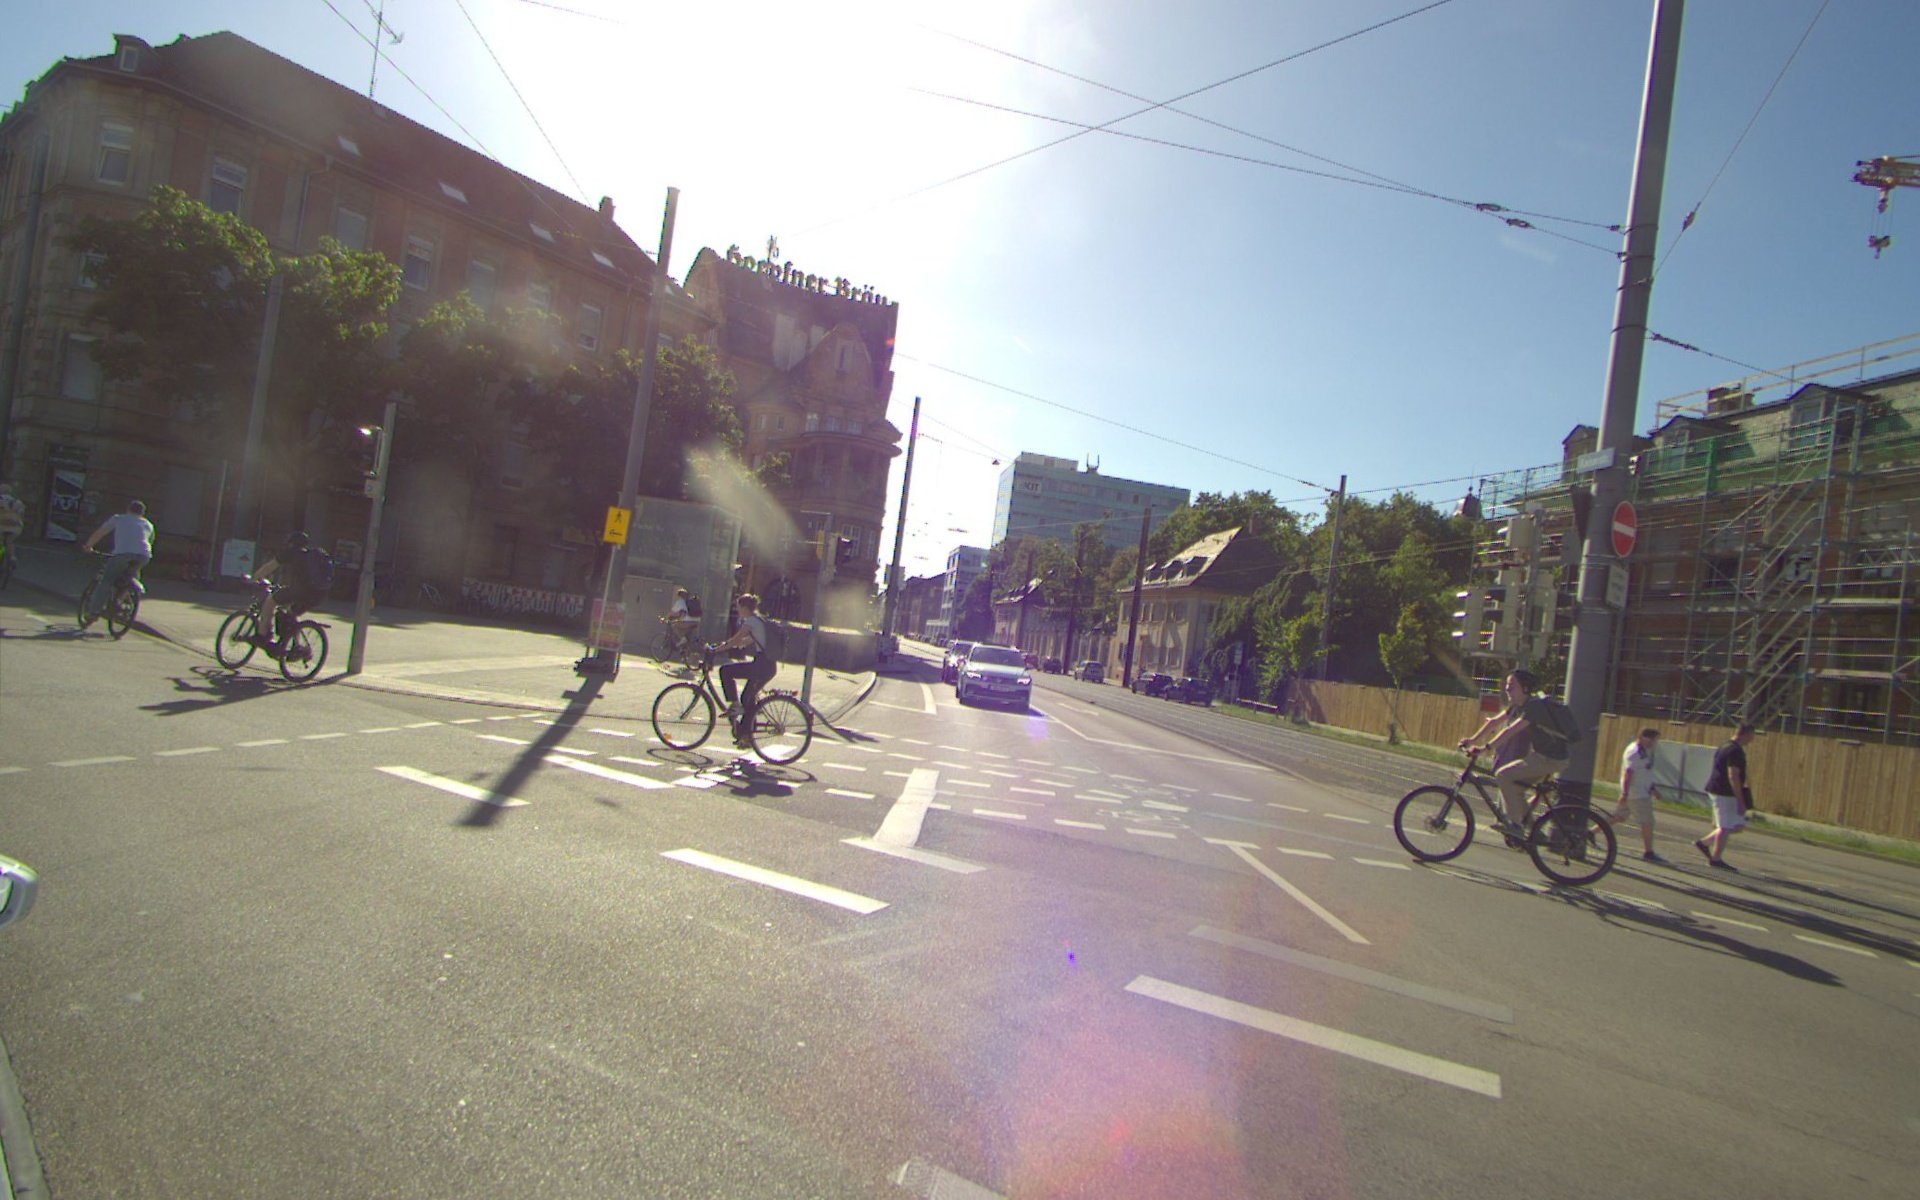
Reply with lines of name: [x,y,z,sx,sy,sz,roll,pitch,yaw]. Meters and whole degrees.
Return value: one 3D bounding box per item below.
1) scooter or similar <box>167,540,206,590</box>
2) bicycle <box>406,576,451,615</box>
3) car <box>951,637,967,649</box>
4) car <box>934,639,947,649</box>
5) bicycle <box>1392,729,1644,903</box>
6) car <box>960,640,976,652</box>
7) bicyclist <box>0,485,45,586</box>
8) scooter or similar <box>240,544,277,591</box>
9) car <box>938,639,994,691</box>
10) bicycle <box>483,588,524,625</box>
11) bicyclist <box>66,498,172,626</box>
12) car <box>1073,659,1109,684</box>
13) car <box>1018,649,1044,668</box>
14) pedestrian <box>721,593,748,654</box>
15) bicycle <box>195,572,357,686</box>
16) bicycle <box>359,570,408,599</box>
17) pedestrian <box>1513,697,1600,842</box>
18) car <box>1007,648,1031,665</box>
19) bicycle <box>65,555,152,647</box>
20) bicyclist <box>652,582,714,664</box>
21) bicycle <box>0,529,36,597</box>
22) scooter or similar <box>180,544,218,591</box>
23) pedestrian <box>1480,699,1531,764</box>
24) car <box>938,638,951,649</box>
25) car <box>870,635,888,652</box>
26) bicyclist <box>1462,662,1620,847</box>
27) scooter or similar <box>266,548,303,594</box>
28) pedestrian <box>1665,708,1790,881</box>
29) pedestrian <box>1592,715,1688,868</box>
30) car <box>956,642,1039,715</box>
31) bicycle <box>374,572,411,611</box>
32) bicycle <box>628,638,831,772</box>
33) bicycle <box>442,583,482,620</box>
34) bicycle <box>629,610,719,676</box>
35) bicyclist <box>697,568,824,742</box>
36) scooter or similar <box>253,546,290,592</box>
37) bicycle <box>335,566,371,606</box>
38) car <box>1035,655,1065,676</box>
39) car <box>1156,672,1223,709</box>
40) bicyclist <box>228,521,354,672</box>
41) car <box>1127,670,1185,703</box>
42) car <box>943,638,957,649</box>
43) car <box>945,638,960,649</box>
scooter or similar: [-20.963,-0.971,27.256,1.678,1.232,0.270,6,-3,38]
bicycle: [-17.137,-0.132,32.435,1.327,1.073,0.405,7,-3,22]
car: [-0.169,6.664,157.109,1.885,1.639,3.821,7,-3,-5]
car: [-3.661,8.034,185.152,1.885,1.639,3.821,7,-3,-5]
bicycle: [4.959,1.892,9.078,1.832,1.171,0.534,7,-3,25]
car: [1.244,6.947,152.195,1.885,1.639,3.821,7,-3,-5]
bicyclist: [-17.323,-1.185,18.215,1.102,1.701,0.682,6,-3,34]
scooter or similar: [-19.810,-0.928,28.411,1.541,1.198,0.270,6,-3,38]
car: [0.178,2.483,38.973,1.883,1.705,4.255,7,-3,-1]
bicycle: [-15.667,0.226,34.534,1.437,1.073,0.404,6,-3,31]
bicyclist: [-11.642,-0.524,13.931,0.872,1.611,0.783,7,-1,36]
car: [10.383,5.641,79.770,1.885,1.639,3.821,7,-3,-5]
car: [7.372,6.090,104.967,1.885,1.639,3.821,7,-3,-5]
pedestrian: [-7.296,0.768,32.577,0.537,1.869,0.650,8,-2,-5]
bicycle: [-8.125,0.336,11.939,1.898,1.130,0.533,6,-2,23]
bicycle: [-21.353,-0.571,37.267,0.399,0.865,1.417,6,-4,44]
pedestrian: [8.002,2.251,13.483,0.810,1.776,0.660,6,-3,33]
car: [6.547,6.274,111.789,1.885,1.639,3.821,7,-3,-5]
bicycle: [-11.809,-0.007,13.928,1.904,1.081,0.386,6,-2,37]
bicyclist: [-6.056,0.504,21.973,0.936,1.631,0.600,7,-3,28]
bicycle: [-17.440,-0.706,18.230,1.904,1.129,0.532,5,-4,36]
scooter or similar: [-20.818,-0.898,27.509,1.678,1.169,0.270,6,-3,38]
pedestrian: [18.887,4.542,34.838,0.851,2.035,1.087,8,-3,-11]
car: [-2.771,7.812,179.863,1.885,1.639,3.821,7,-3,-5]
car: [-9.150,4.868,113.293,1.723,1.639,4.015,7,-3,-6]
bicyclist: [5.176,1.358,9.028,1.018,1.436,0.677,7,-3,24]
scooter or similar: [-19.429,-0.851,28.931,1.541,1.209,0.270,6,-3,38]
pedestrian: [9.770,2.440,12.854,1.032,1.950,0.932,6,-3,33]
pedestrian: [8.395,2.344,12.448,0.810,1.695,0.660,6,-3,33]
car: [0.940,2.091,27.664,1.883,1.639,4.255,7,-3,-1]
bicycle: [-17.819,-0.268,31.575,1.332,1.073,0.403,6,-3,38]
bicycle: [-2.392,1.071,10.460,1.897,1.130,0.534,6,-3,13]
bicycle: [-16.753,0.032,33.838,1.438,1.073,0.404,6,-3,33]
bicycle: [-6.292,0.939,22.104,1.899,1.129,0.533,9,-2,27]
bicyclist: [-2.052,0.569,10.409,0.935,1.631,0.553,7,-2,14]
scooter or similar: [-19.632,-0.884,28.670,1.541,1.198,0.270,6,-3,38]
bicycle: [-18.456,-0.441,30.577,1.463,1.073,0.403,5,-4,43]
car: [8.416,6.087,94.331,1.885,1.639,3.821,7,-3,-5]
car: [13.017,5.142,57.349,1.969,1.590,3.994,9,-4,-13]
bicyclist: [-7.904,-0.036,11.896,0.963,1.631,0.626,7,-3,25]
car: [12.275,5.405,63.264,1.969,1.635,3.994,9,-4,-13]
car: [-1.798,7.473,172.649,1.885,1.639,3.821,7,-3,-5]
car: [-1.260,7.233,167.416,1.885,1.639,3.821,7,-3,-5]
